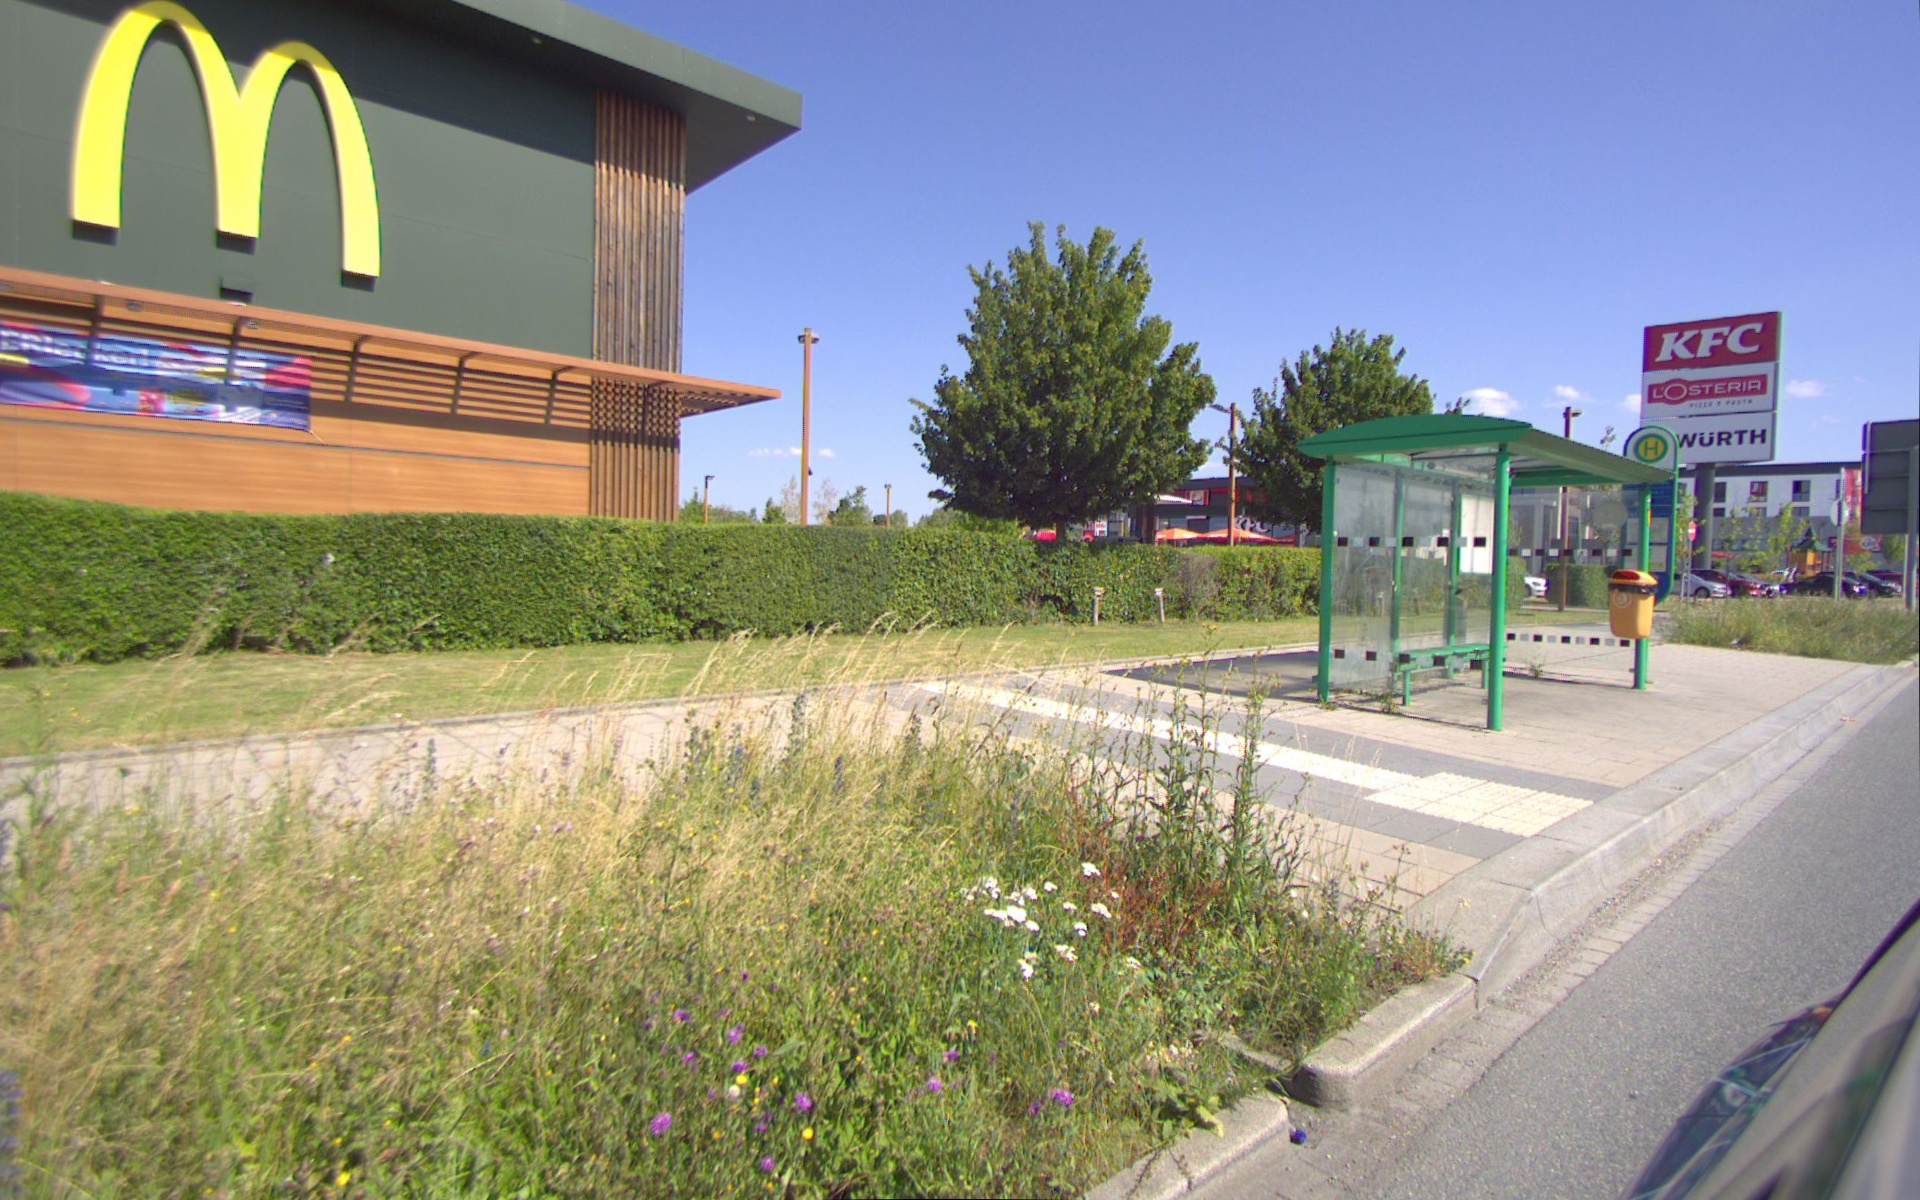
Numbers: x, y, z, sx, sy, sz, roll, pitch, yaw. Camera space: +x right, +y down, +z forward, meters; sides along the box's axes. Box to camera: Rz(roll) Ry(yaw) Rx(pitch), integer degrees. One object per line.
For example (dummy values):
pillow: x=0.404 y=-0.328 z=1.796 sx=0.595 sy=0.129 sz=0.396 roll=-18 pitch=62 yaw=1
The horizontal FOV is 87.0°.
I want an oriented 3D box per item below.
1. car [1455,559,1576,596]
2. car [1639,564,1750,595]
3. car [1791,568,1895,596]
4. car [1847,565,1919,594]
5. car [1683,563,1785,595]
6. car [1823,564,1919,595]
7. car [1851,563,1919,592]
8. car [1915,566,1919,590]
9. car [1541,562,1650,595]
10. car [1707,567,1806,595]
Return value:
car: x=25.614 y=-1.068 z=46.830 sx=1.833 sy=1.508 sz=4.544 roll=0 pitch=3 yaw=-34
car: x=40.269 y=-1.132 z=55.593 sx=1.831 sy=1.508 sz=4.577 roll=0 pitch=3 yaw=-30
car: x=53.977 y=-1.123 z=61.990 sx=1.754 sy=1.467 sz=4.431 roll=1 pitch=3 yaw=-24
car: x=60.278 y=-1.315 z=65.101 sx=1.754 sy=1.755 sz=4.431 roll=1 pitch=3 yaw=-23
car: x=44.214 y=-1.222 z=57.902 sx=1.830 sy=1.685 sz=4.176 roll=0 pitch=3 yaw=-27
car: x=57.480 y=-1.296 z=63.726 sx=1.754 sy=1.755 sz=4.431 roll=1 pitch=3 yaw=-23
car: x=62.720 y=-1.485 z=67.168 sx=1.899 sy=1.755 sz=5.009 roll=1 pitch=3 yaw=-25
car: x=66.908 y=-1.384 z=67.308 sx=1.954 sy=1.585 sz=4.430 roll=1 pitch=3 yaw=-25
car: x=31.852 y=-1.089 z=50.815 sx=1.833 sy=1.508 sz=4.221 roll=0 pitch=3 yaw=-34
car: x=46.459 y=-1.111 z=59.127 sx=1.756 sy=1.467 sz=4.172 roll=0 pitch=3 yaw=-32
